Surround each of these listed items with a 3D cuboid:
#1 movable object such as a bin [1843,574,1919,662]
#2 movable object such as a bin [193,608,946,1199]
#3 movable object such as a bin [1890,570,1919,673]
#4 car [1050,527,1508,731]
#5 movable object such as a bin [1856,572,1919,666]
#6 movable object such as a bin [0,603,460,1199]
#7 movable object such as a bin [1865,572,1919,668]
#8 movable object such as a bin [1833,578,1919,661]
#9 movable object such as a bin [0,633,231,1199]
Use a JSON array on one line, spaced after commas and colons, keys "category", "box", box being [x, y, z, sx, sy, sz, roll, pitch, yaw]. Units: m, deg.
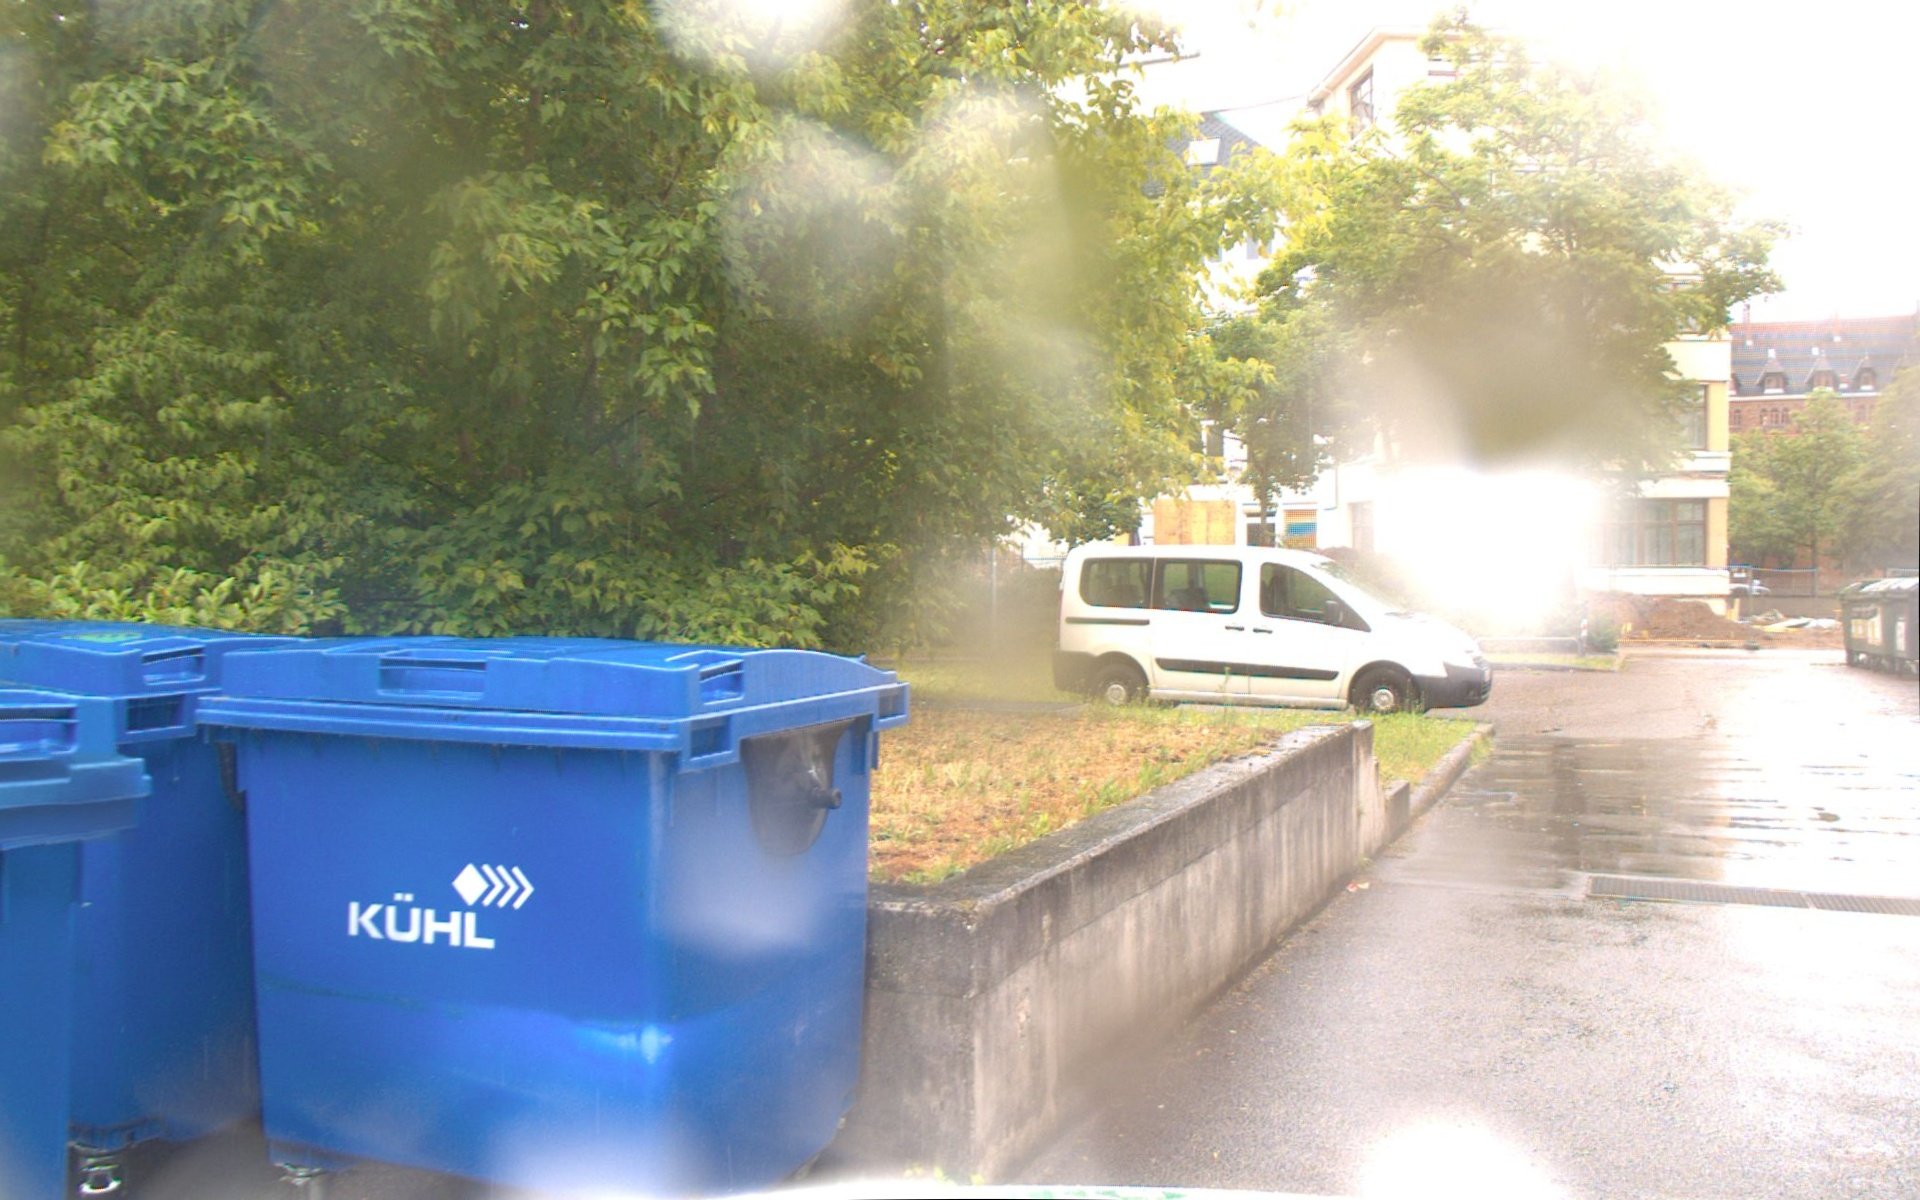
[{"category": "movable object such as a bin", "box": [15.879, 0.317, 28.332, 1.190, 1.462, 1.259, 0, -2, 21]}, {"category": "movable object such as a bin", "box": [-0.783, 0.711, 3.534, 1.197, 1.360, 1.006, 0, 1, 24]}, {"category": "movable object such as a bin", "box": [14.230, 0.323, 23.924, 1.190, 1.462, 1.236, 0, -2, 21]}, {"category": "car", "box": [3.562, 0.304, 18.501, 4.685, 2.049, 1.999, -1, 1, 25]}, {"category": "movable object such as a bin", "box": [15.405, 0.317, 27.037, 1.190, 1.494, 1.236, 0, -2, 21]}, {"category": "movable object such as a bin", "box": [-2.018, 0.706, 3.948, 1.197, 1.360, 1.006, 0, 2, 24]}, {"category": "movable object such as a bin", "box": [14.768, 0.317, 25.588, 1.190, 1.462, 1.294, 0, -2, 21]}, {"category": "movable object such as a bin", "box": [16.390, 0.354, 29.612, 1.190, 1.462, 1.259, 0, -2, 21]}, {"category": "movable object such as a bin", "box": [-1.789, 0.735, 2.080, 1.179, 1.360, 1.115, 0, 0, 28]}]
